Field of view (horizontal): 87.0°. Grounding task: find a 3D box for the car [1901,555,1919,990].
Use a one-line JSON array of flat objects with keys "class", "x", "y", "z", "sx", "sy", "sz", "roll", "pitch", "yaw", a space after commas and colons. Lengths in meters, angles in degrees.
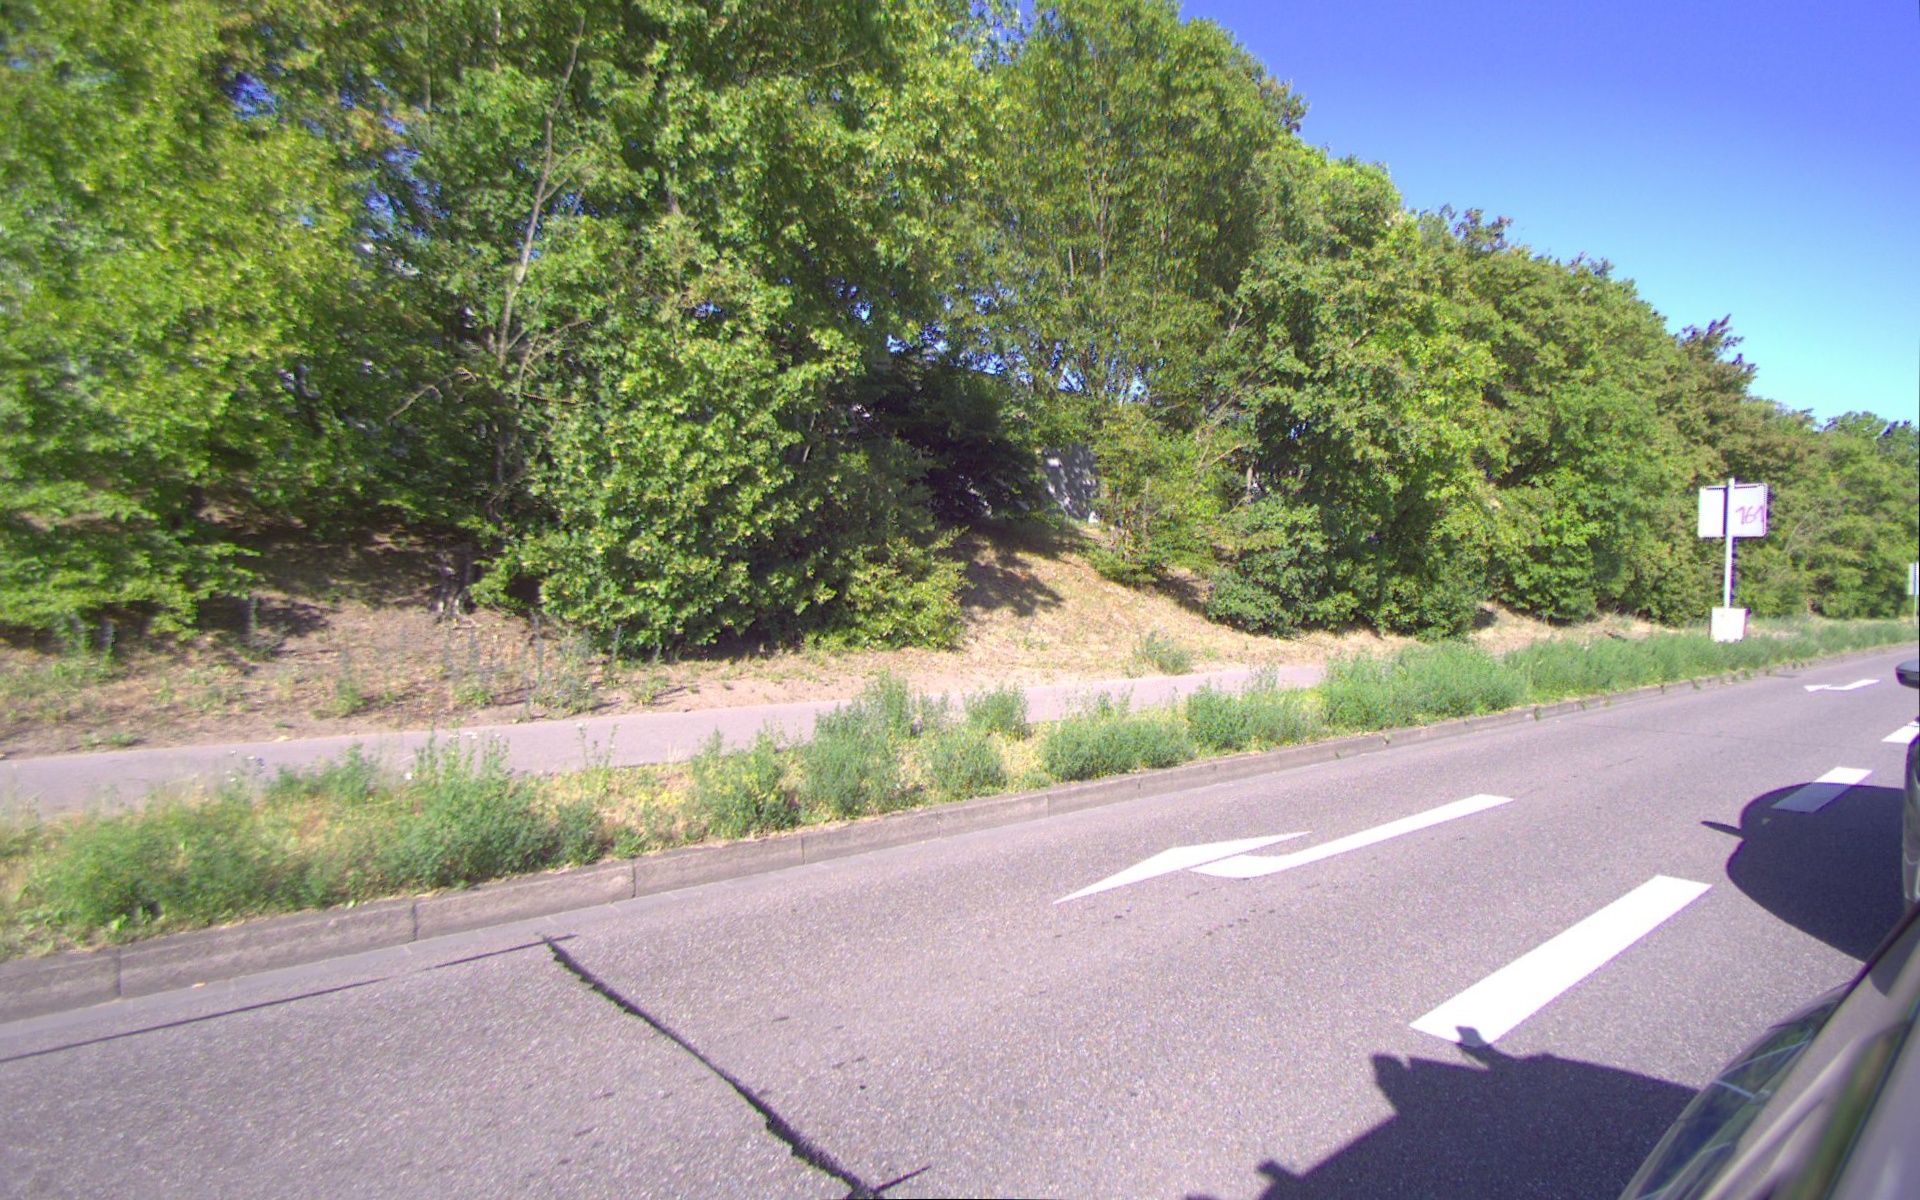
[{"class": "car", "x": 5.601, "y": 0.656, "z": 4.358, "sx": 3.863, "sy": 1.617, "sz": 1.869, "roll": 0, "pitch": 0, "yaw": -41}]
